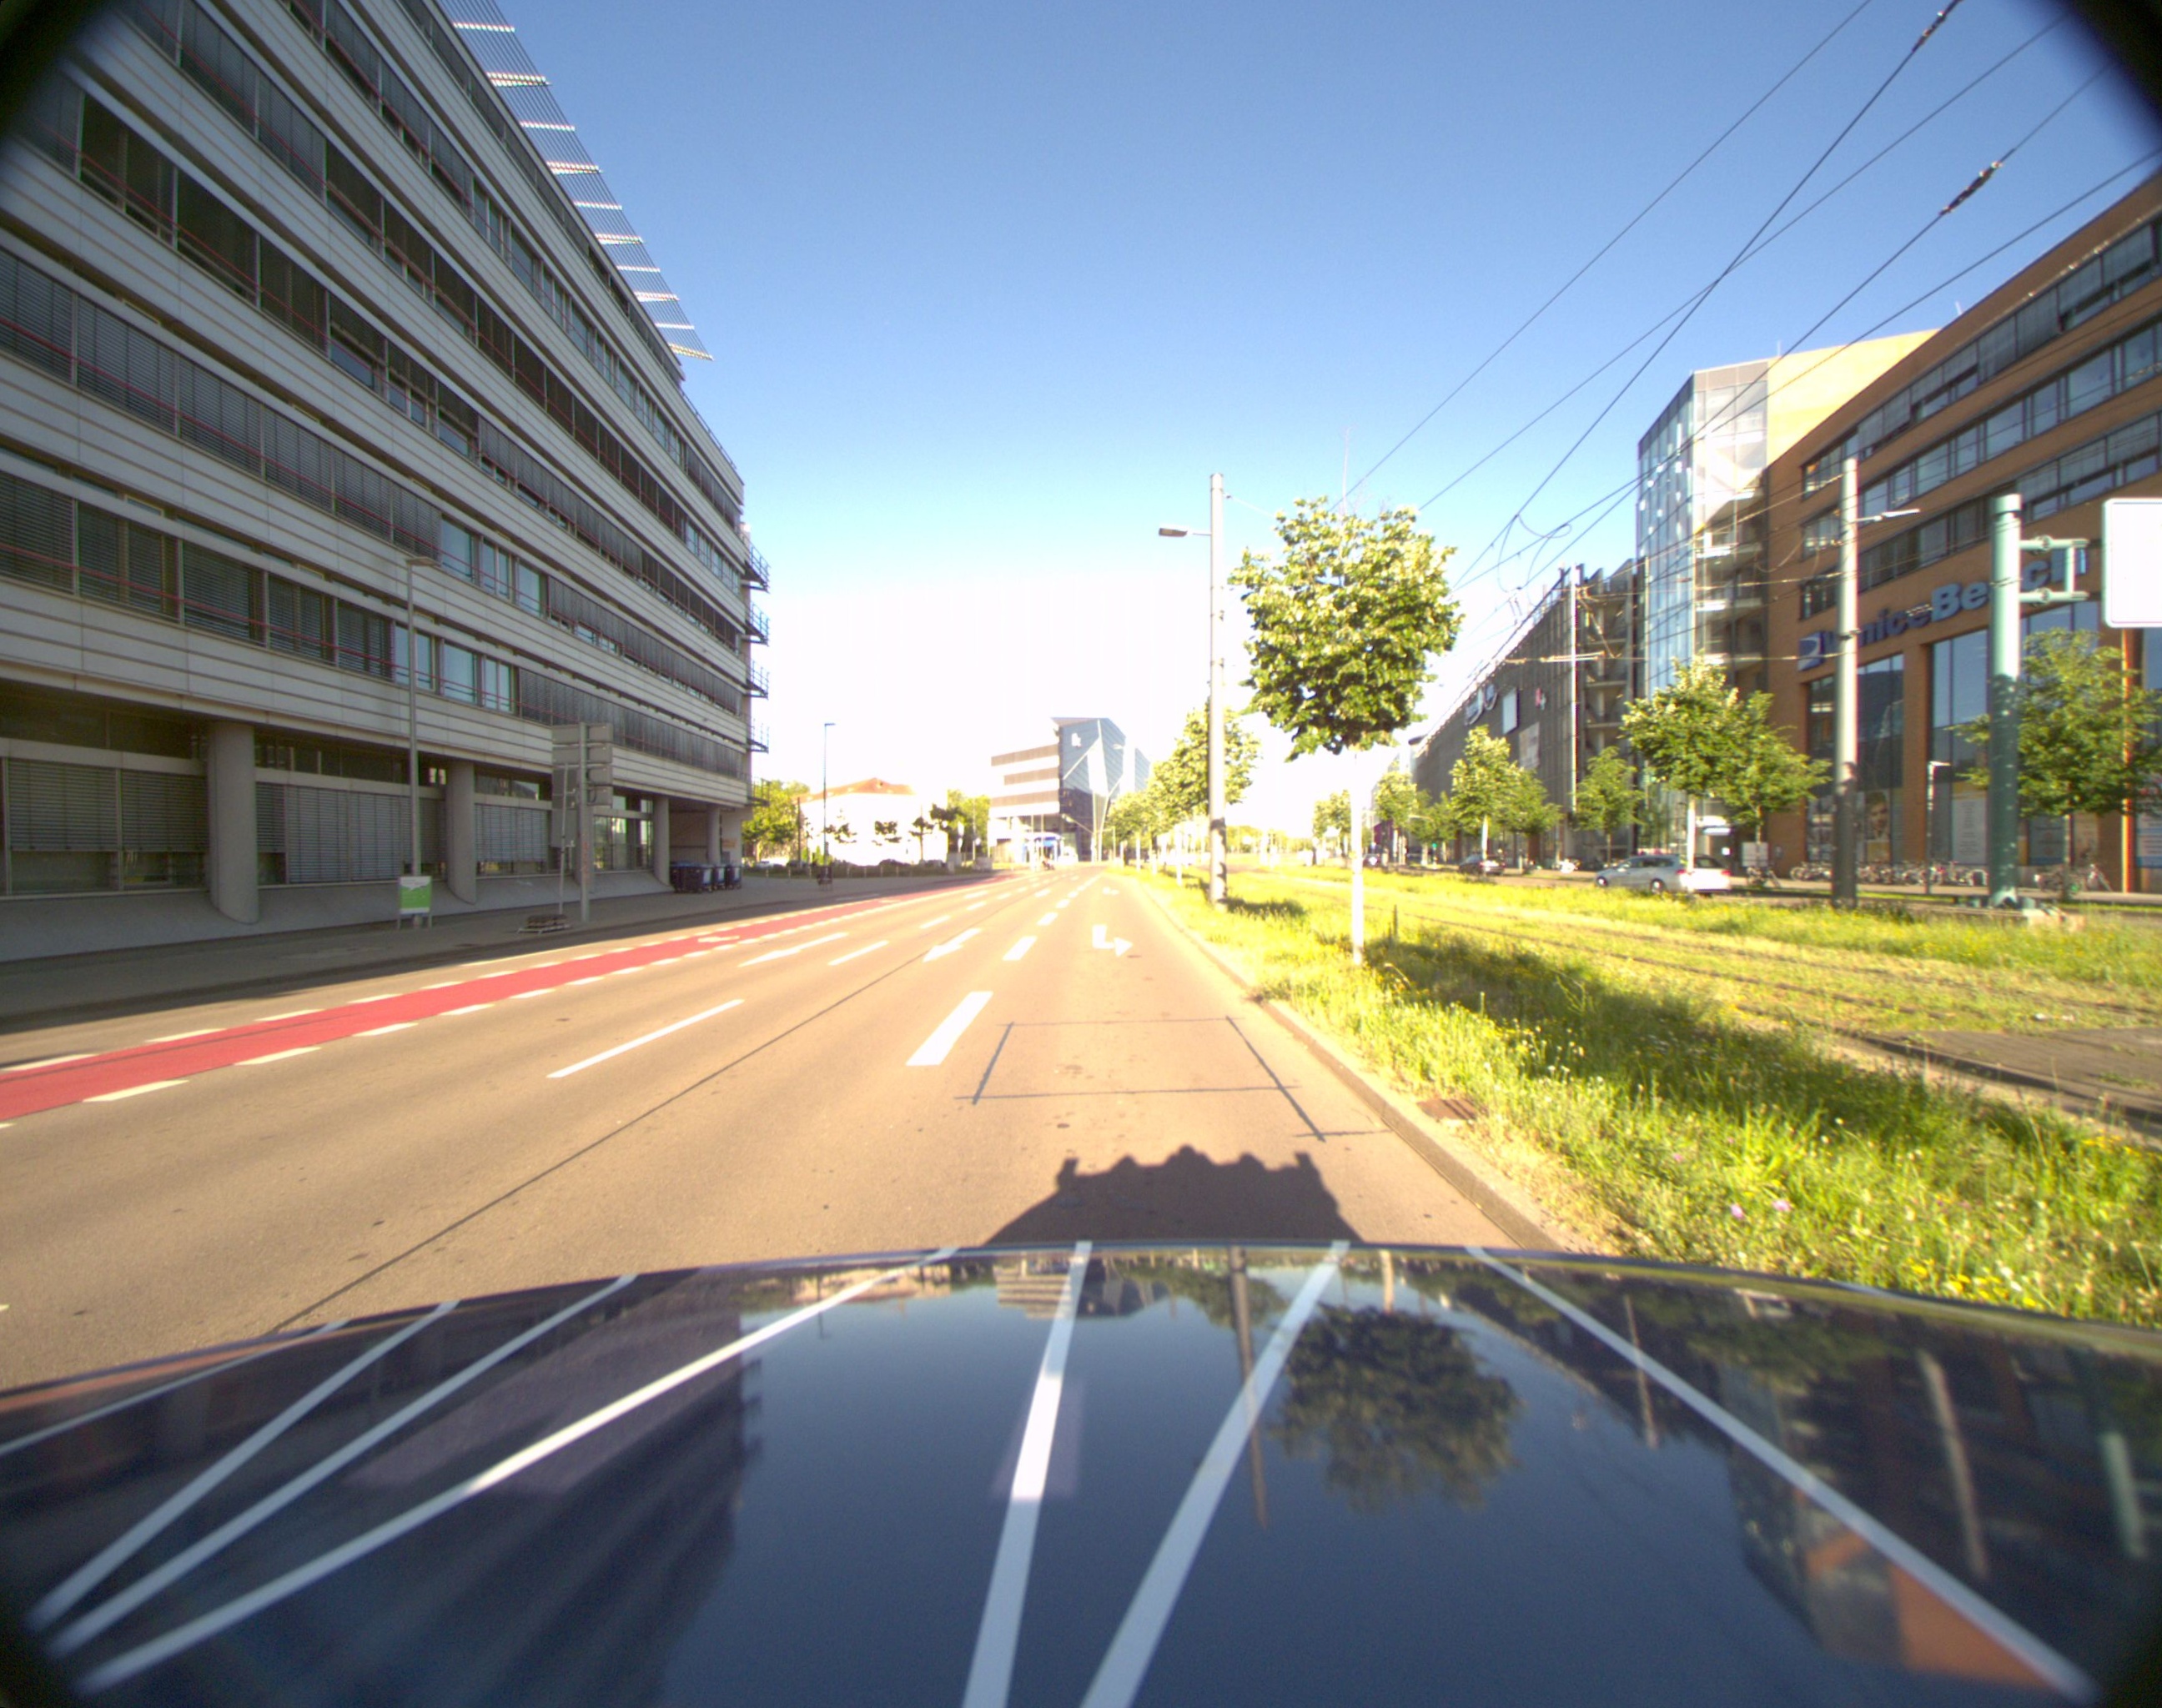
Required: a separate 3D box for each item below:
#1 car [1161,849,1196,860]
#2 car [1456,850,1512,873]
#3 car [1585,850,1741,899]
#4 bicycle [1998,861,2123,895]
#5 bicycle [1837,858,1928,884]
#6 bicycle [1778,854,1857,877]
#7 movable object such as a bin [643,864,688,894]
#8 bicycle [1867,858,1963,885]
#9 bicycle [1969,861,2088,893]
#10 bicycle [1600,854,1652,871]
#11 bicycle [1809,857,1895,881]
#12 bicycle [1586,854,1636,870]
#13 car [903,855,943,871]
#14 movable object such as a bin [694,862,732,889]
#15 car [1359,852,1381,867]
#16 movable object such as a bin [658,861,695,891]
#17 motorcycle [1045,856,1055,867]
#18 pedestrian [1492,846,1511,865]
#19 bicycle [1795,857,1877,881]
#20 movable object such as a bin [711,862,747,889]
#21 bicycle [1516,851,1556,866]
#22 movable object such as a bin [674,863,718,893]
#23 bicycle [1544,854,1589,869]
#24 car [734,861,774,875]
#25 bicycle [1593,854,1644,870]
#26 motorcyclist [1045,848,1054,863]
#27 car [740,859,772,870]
[{"bbox_3d":[13.181,0.058,102.690,4.342,1.519,1.682,1,1,35],"label":"car"},{"bbox_3d":[27.281,0.471,51.590,1.626,1.519,4.355,0,0,1],"label":"car"},{"bbox_3d":[19.706,0.626,26.048,1.626,1.519,4.802,-1,0,0],"label":"car"},{"bbox_3d":[33.295,0.811,25.868,2.687,1.097,0.897,0,0,11],"label":"bicycle"},{"bbox_3d":[34.582,0.714,32.810,2.687,1.097,0.897,0,0,11],"label":"bicycle"},{"bbox_3d":[35.667,0.540,36.832,2.687,1.097,0.897,0,0,11],"label":"bicycle"},{"bbox_3d":[-18.513,1.098,33.902,1.328,1.294,1.174,-1,1,1],"label":"movable object such as a bin"},{"bbox_3d":[34.509,0.732,31.471,2.687,1.097,0.897,0,0,11],"label":"bicycle"},{"bbox_3d":[33.495,0.818,26.896,2.687,1.097,0.897,0,0,11],"label":"bicycle"},{"bbox_3d":[36.047,0.557,50.266,2.687,1.097,0.897,0,0,11],"label":"bicycle"},{"bbox_3d":[34.913,0.683,34.448,2.687,1.097,0.897,0,0,11],"label":"bicycle"},{"bbox_3d":[36.325,0.531,52.152,2.687,1.097,0.897,0,0,11],"label":"bicycle"},{"bbox_3d":[-15.408,0.859,74.000,3.790,1.523,1.744,0,1,37],"label":"car"},{"bbox_3d":[-17.933,1.039,37.049,1.173,1.293,1.329,-1,1,1],"label":"movable object such as a bin"},{"bbox_3d":[30.300,0.569,79.657,1.624,1.519,4.360,1,0,14],"label":"car"},{"bbox_3d":[-19.083,1.011,35.832,1.109,1.366,1.108,-1,1,1],"label":"movable object such as a bin"},{"bbox_3d":[-3.710,0.911,90.735,0.822,1.214,2.252,0,1,-15],"label":"motorcycle"},{"bbox_3d":[37.800,0.142,68.311,1.072,1.671,1.095,-1,1,-6],"label":"pedestrian"},{"bbox_3d":[35.428,0.683,35.672,2.687,1.097,0.897,0,0,11],"label":"bicycle"},{"bbox_3d":[-17.766,1.079,38.393,1.173,1.293,1.329,-1,1,1],"label":"movable object such as a bin"},{"bbox_3d":[37.927,0.391,63.359,2.687,1.182,0.897,0,0,11],"label":"bicycle"},{"bbox_3d":[-17.150,1.049,33.855,1.328,1.294,1.174,-1,1,1],"label":"movable object such as a bin"},{"bbox_3d":[36.852,0.589,57.700,2.687,1.097,0.897,0,0,11],"label":"bicycle"},{"bbox_3d":[-36.435,1.542,84.623,3.794,1.523,1.742,0,1,13],"label":"car"},{"bbox_3d":[36.206,0.541,51.241,2.687,1.097,0.826,0,0,11],"label":"bicycle"},{"bbox_3d":[-3.742,0.194,90.860,0.822,1.846,1.111,0,1,-15],"label":"motorcyclist"},{"bbox_3d":[-44.797,1.435,104.754,3.804,1.523,1.737,-1,1,-17],"label":"car"}]
